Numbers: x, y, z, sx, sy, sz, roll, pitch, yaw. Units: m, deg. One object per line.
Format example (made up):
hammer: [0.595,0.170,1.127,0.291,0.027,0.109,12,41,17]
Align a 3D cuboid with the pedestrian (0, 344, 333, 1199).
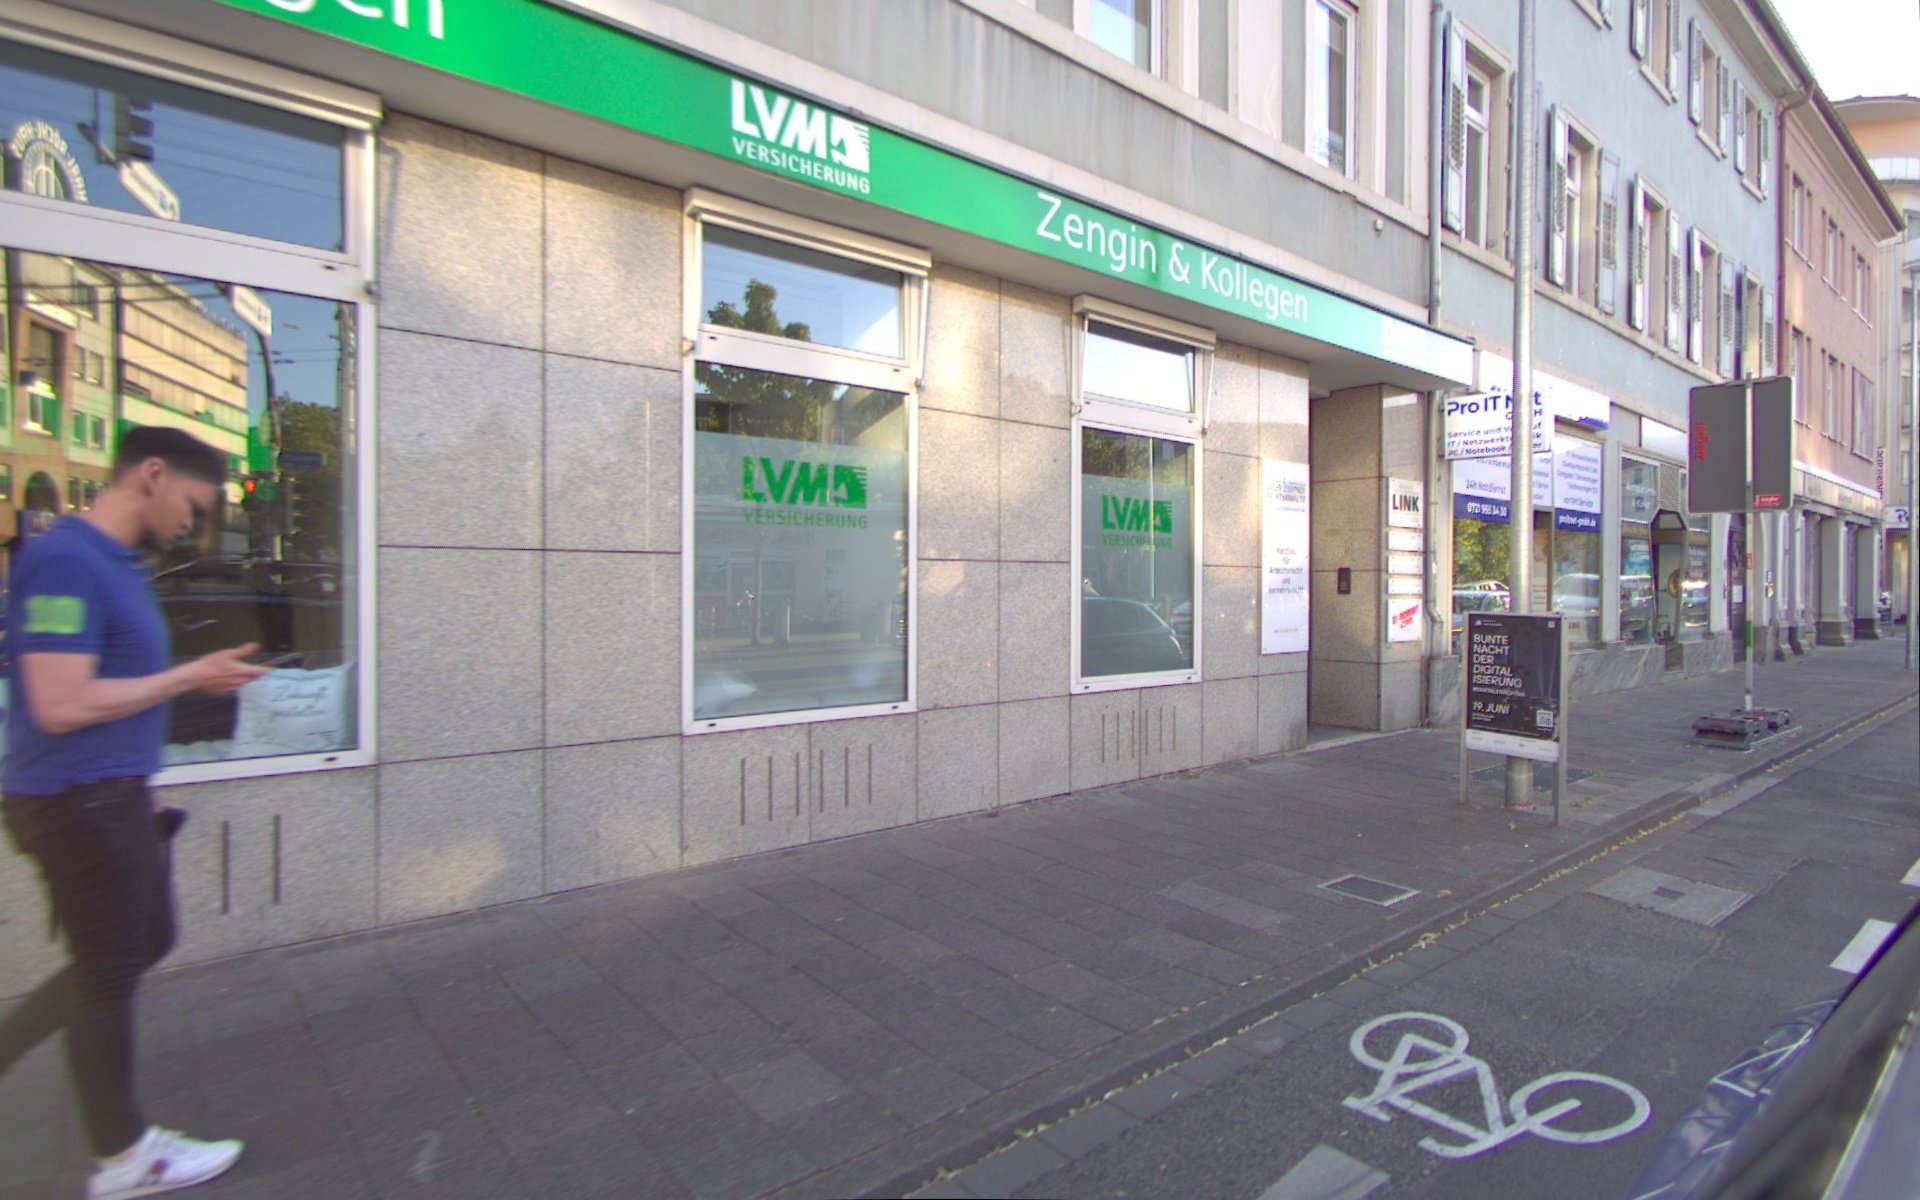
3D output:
pedestrian: [-2.029,0.409,2.363,0.865,1.850,0.692,0,1,-41]
